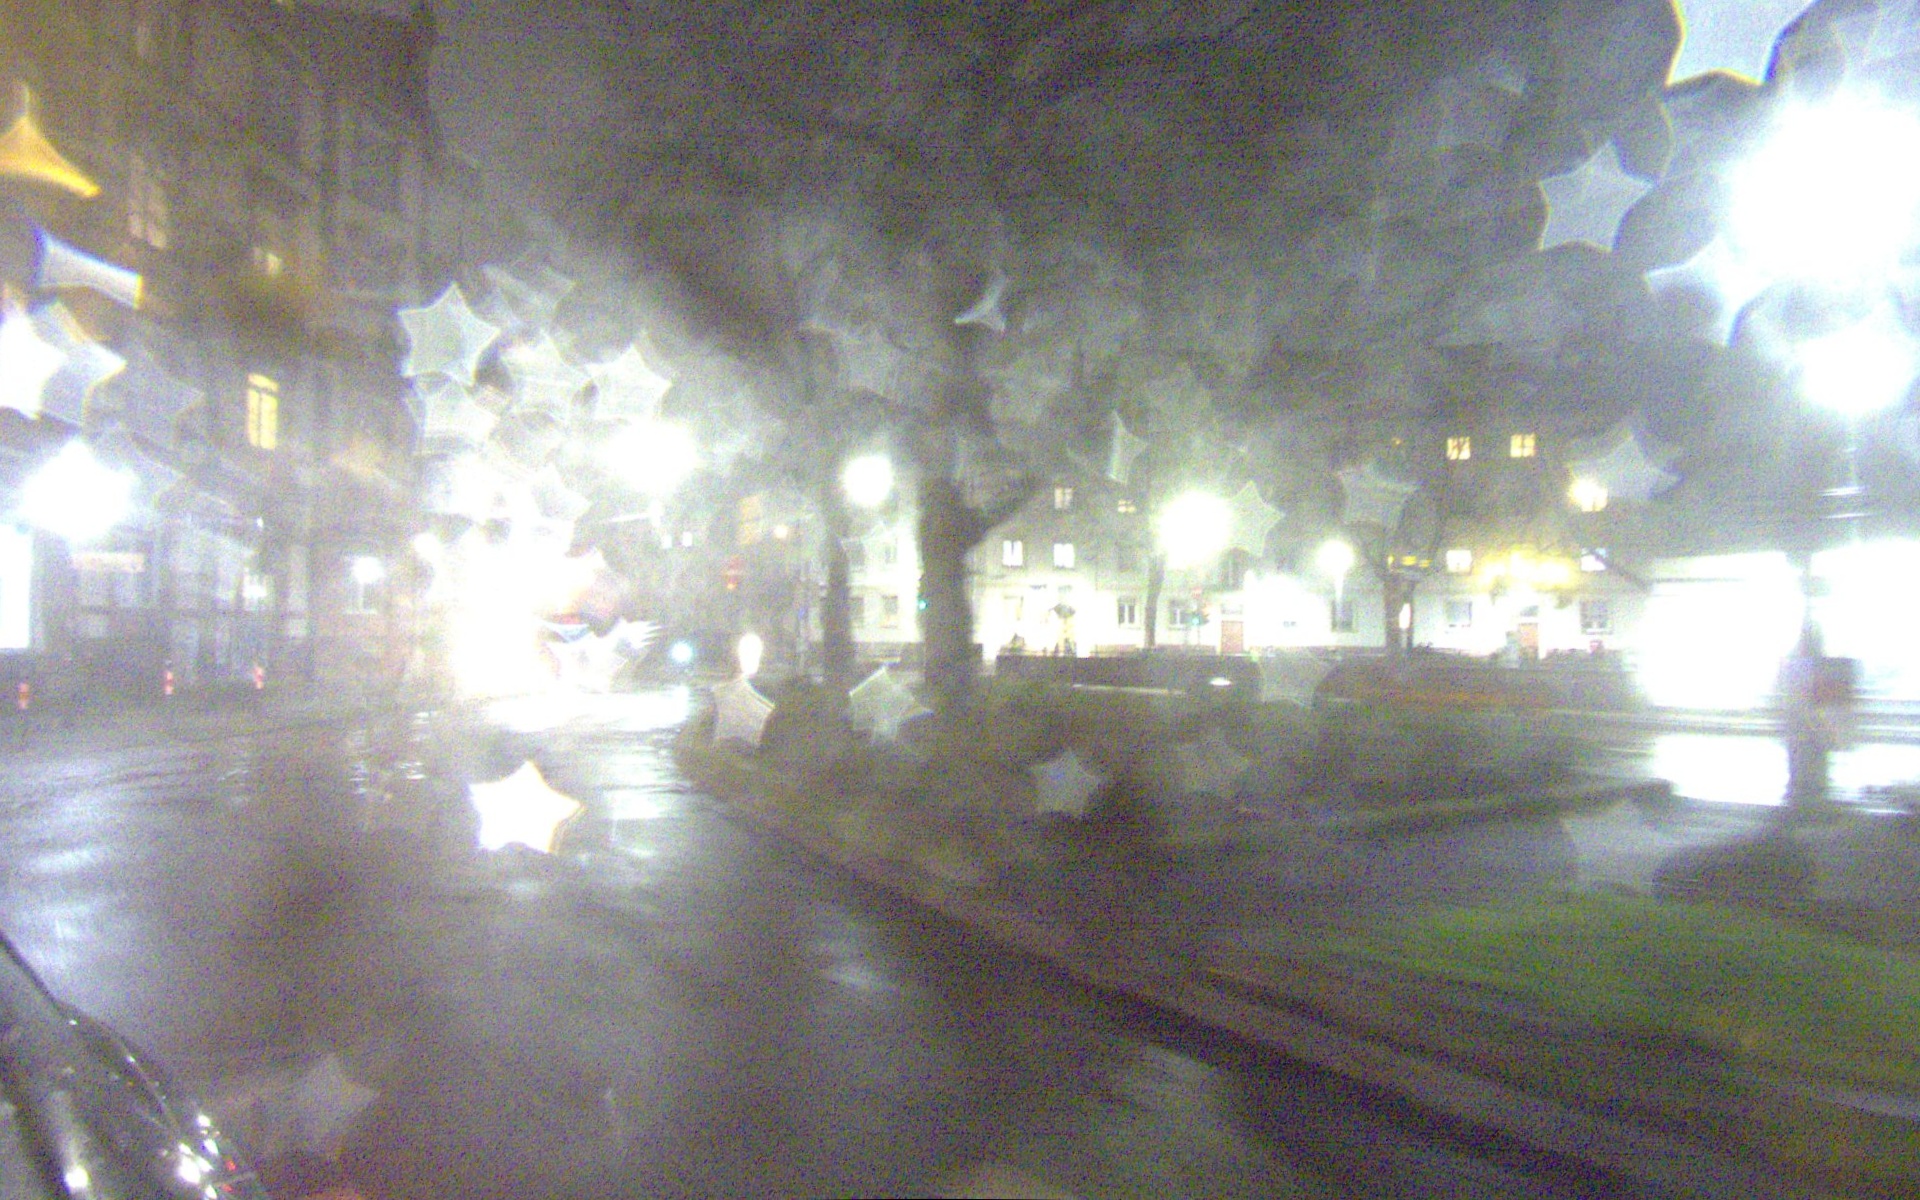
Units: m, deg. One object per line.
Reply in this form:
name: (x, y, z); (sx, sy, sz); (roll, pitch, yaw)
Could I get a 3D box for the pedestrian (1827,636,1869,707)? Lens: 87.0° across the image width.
pedestrian: (19.894, 1.593, 22.682); (0.583, 1.540, 0.476); (-1, 0, 24)

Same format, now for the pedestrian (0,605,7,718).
pedestrian: (-14.466, 0.907, 14.705); (0.634, 1.650, 0.862); (-1, 0, 43)
